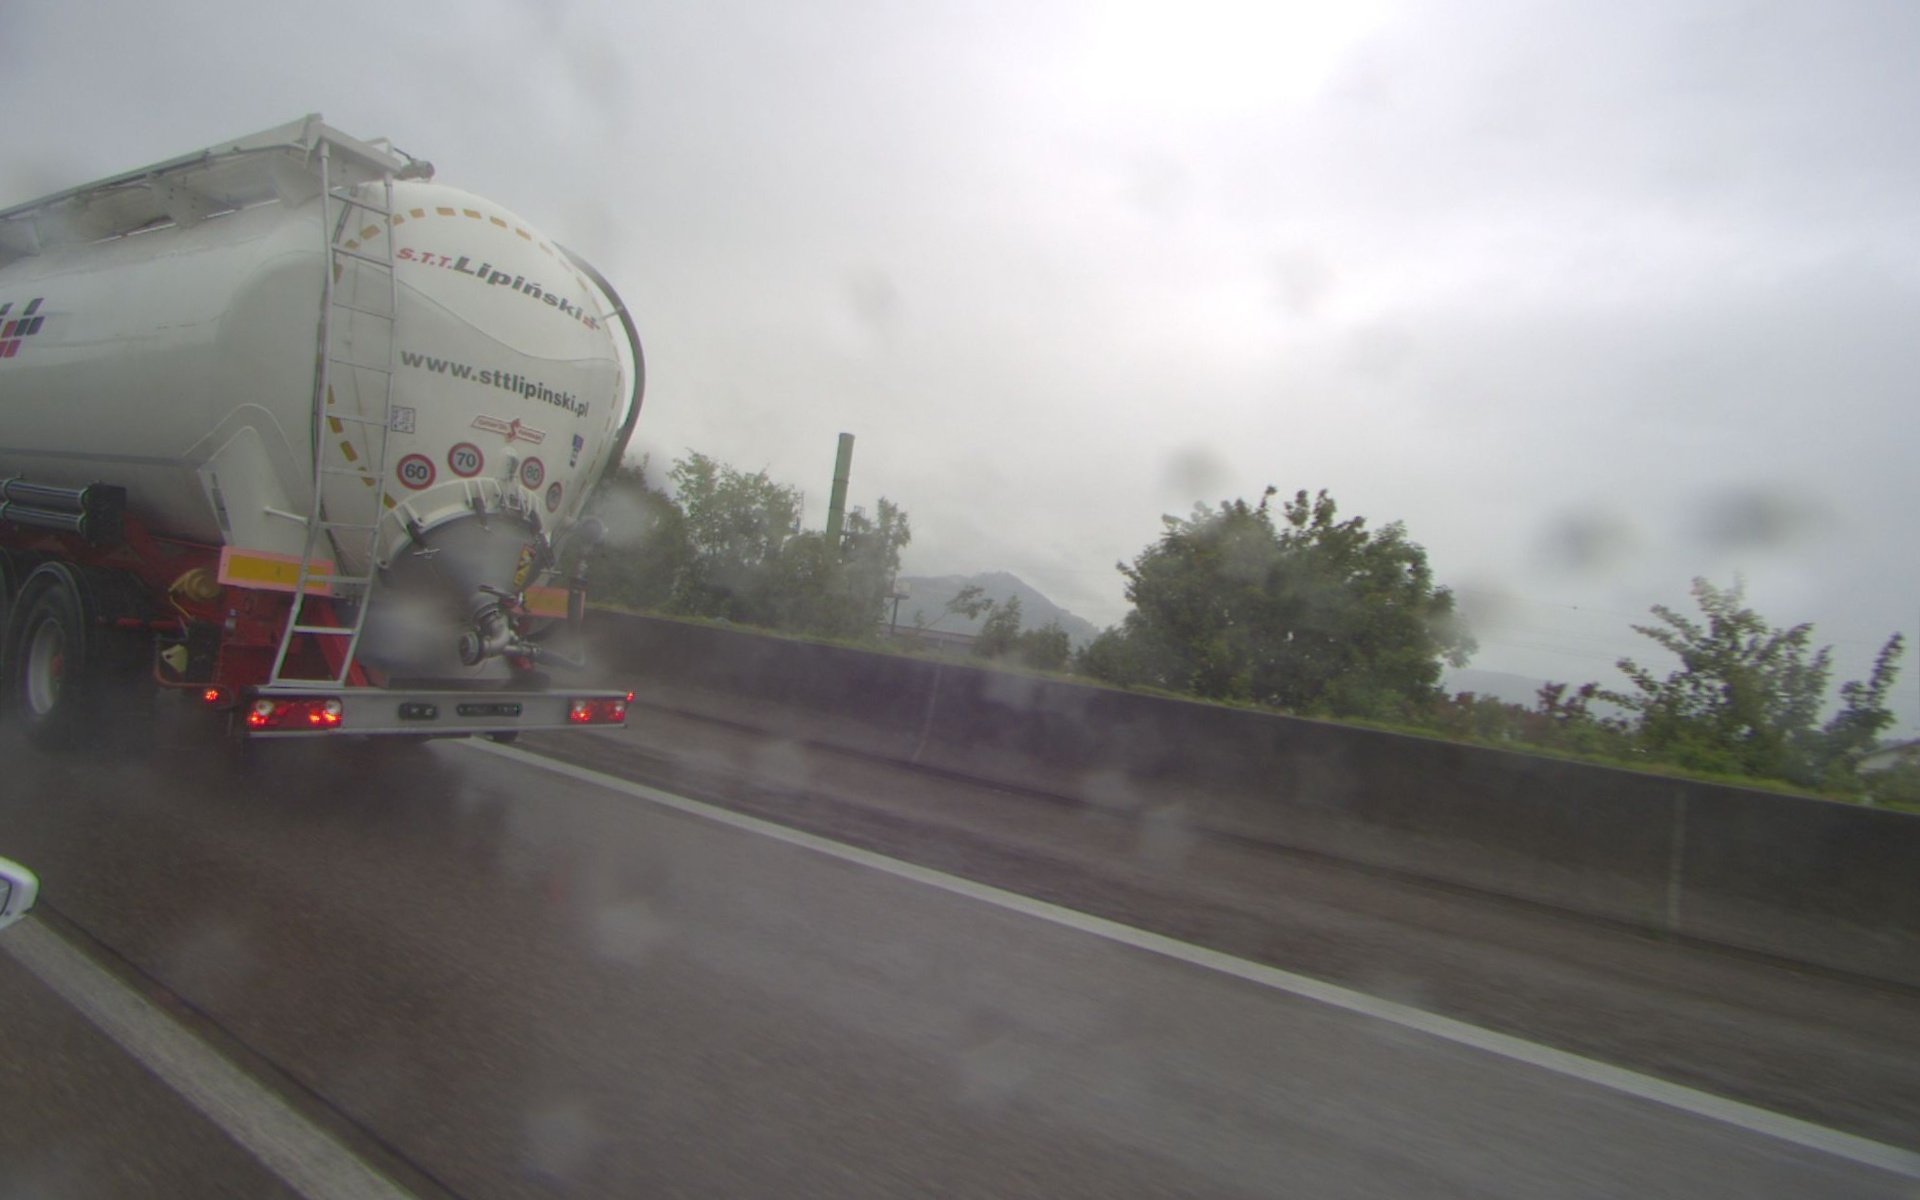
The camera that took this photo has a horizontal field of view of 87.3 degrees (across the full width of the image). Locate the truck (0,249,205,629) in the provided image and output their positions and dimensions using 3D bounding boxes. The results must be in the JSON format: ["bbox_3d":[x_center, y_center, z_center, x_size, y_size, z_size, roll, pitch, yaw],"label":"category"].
[{"bbox_3d":[-13.113,-2.067,12.601,7.092,3.851,3.111,7,-1,31],"label":"truck"}]

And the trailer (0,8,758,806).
[{"bbox_3d":[-7.375,-1.315,9.022,11.473,3.712,3.195,7,-1,32],"label":"trailer"}]
